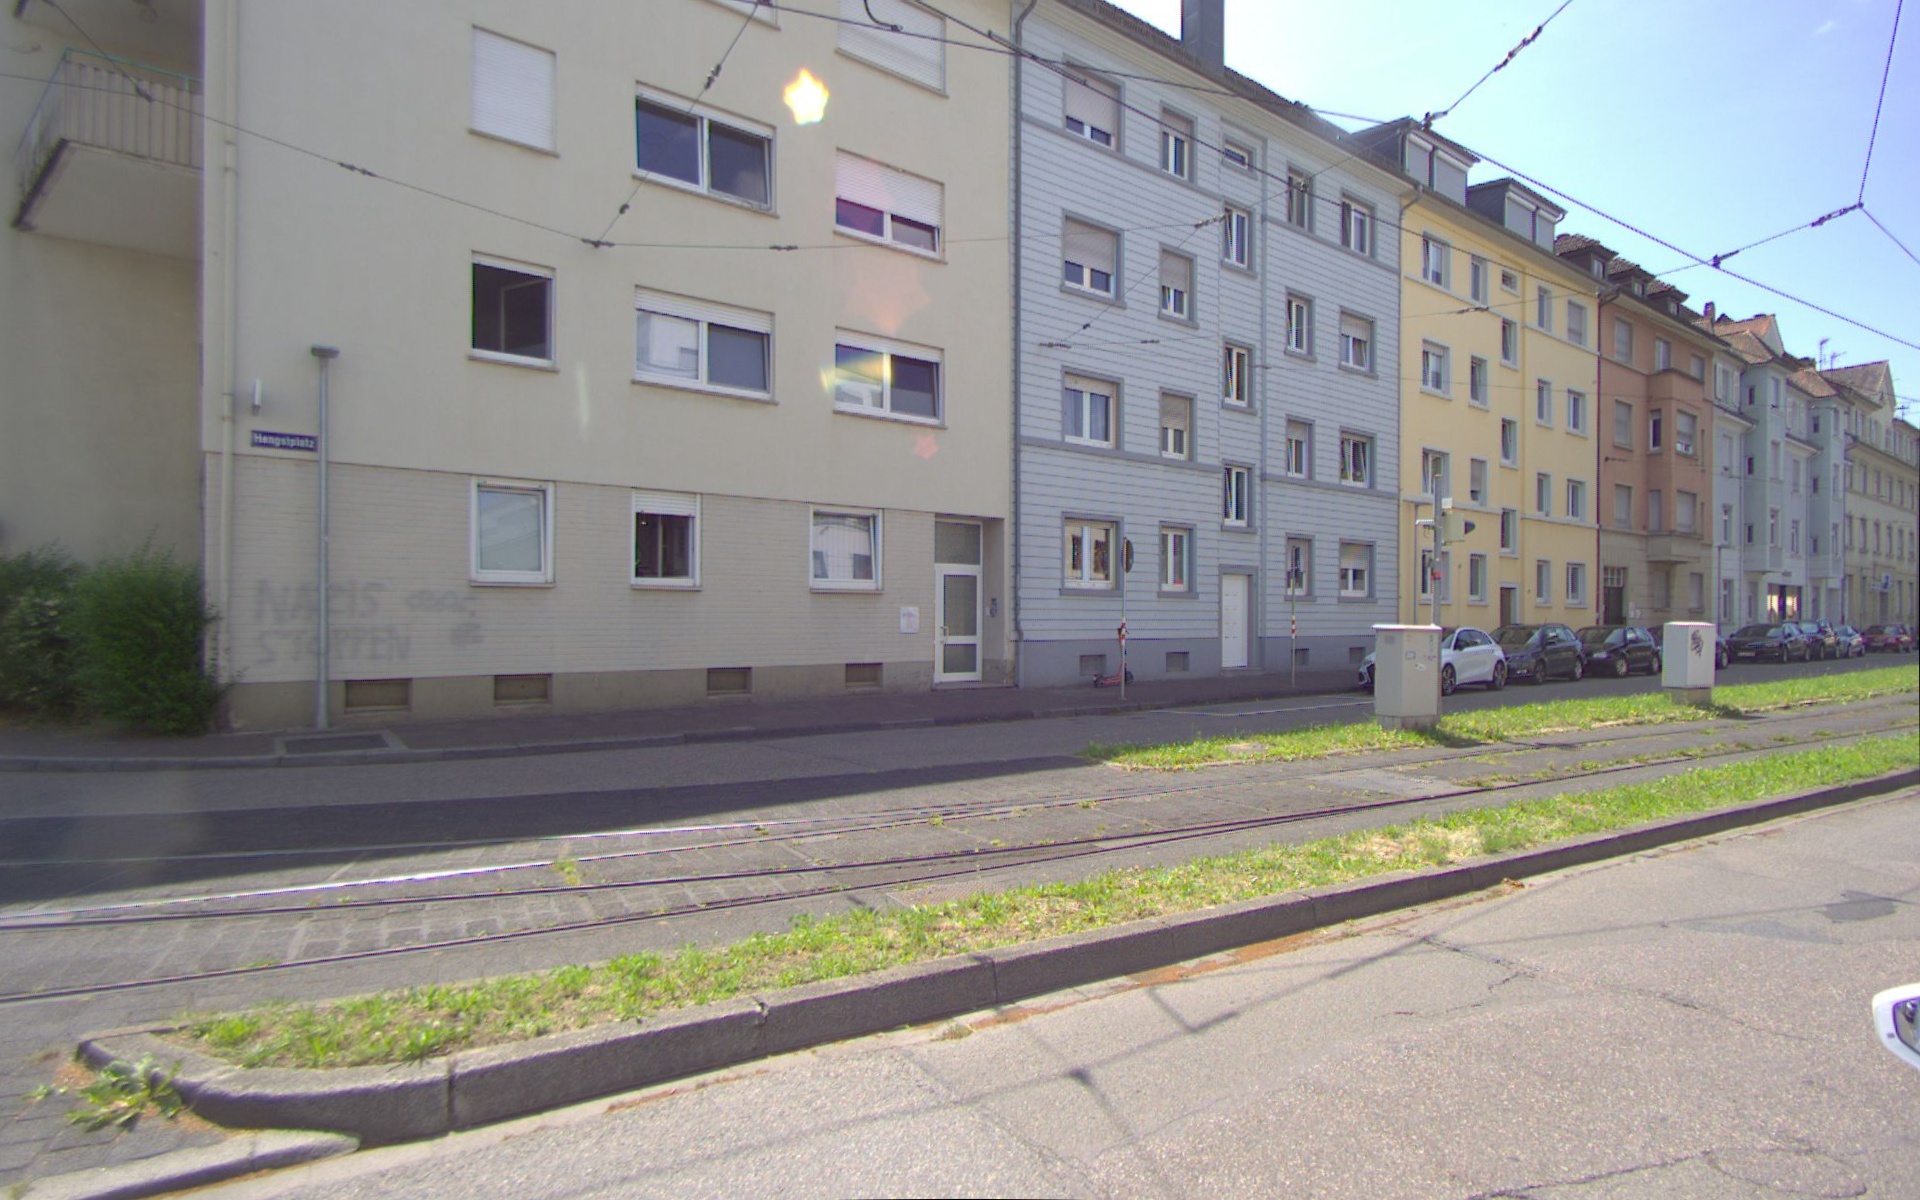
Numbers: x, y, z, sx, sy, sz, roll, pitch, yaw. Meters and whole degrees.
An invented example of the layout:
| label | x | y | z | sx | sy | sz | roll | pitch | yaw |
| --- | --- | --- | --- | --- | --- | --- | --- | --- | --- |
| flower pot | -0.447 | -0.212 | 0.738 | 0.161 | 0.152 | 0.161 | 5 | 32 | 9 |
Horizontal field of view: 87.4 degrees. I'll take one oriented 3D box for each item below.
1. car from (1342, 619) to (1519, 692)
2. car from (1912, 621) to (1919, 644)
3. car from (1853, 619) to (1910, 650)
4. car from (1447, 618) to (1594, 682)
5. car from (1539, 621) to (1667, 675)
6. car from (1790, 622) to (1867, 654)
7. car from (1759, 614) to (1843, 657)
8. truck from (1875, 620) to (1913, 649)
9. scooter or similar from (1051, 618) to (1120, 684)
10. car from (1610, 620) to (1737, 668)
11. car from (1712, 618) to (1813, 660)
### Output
| label | x | y | z | sx | sy | sz | roll | pitch | yaw |
| --- | --- | --- | --- | --- | --- | --- | --- | --- | --- |
| car | 10.539 | 1.184 | 22.377 | 4.340 | 1.470 | 1.912 | 1 | -3 | -40 |
| car | 58.492 | 1.927 | 60.105 | 3.822 | 1.378 | 1.674 | 1 | -2 | -38 |
| car | 46.614 | 1.724 | 50.794 | 3.593 | 1.470 | 1.560 | 1 | -2 | -38 |
| car | 14.517 | 1.227 | 25.924 | 4.290 | 1.525 | 1.912 | 1 | -1 | -40 |
| car | 18.392 | 1.324 | 28.679 | 4.104 | 1.418 | 1.817 | 1 | -1 | -37 |
| car | 38.438 | 1.655 | 44.418 | 4.212 | 1.374 | 1.793 | 1 | -2 | -38 |
| car | 34.790 | 1.449 | 41.529 | 4.105 | 1.708 | 1.823 | 1 | -2 | -38 |
| truck | 49.846 | 1.812 | 53.604 | 2.572 | 1.514 | 1.117 | 1 | -2 | -39 |
| scooter or similar | 2.537 | 1.007 | 20.221 | 1.309 | 1.240 | 0.633 | -1 | 2 | -38 |
| car | 22.749 | 1.364 | 31.981 | 4.817 | 1.416 | 1.914 | 1 | -2 | -37 |
| car | 30.488 | 1.444 | 38.110 | 4.819 | 1.510 | 1.913 | 1 | -2 | -38 |
